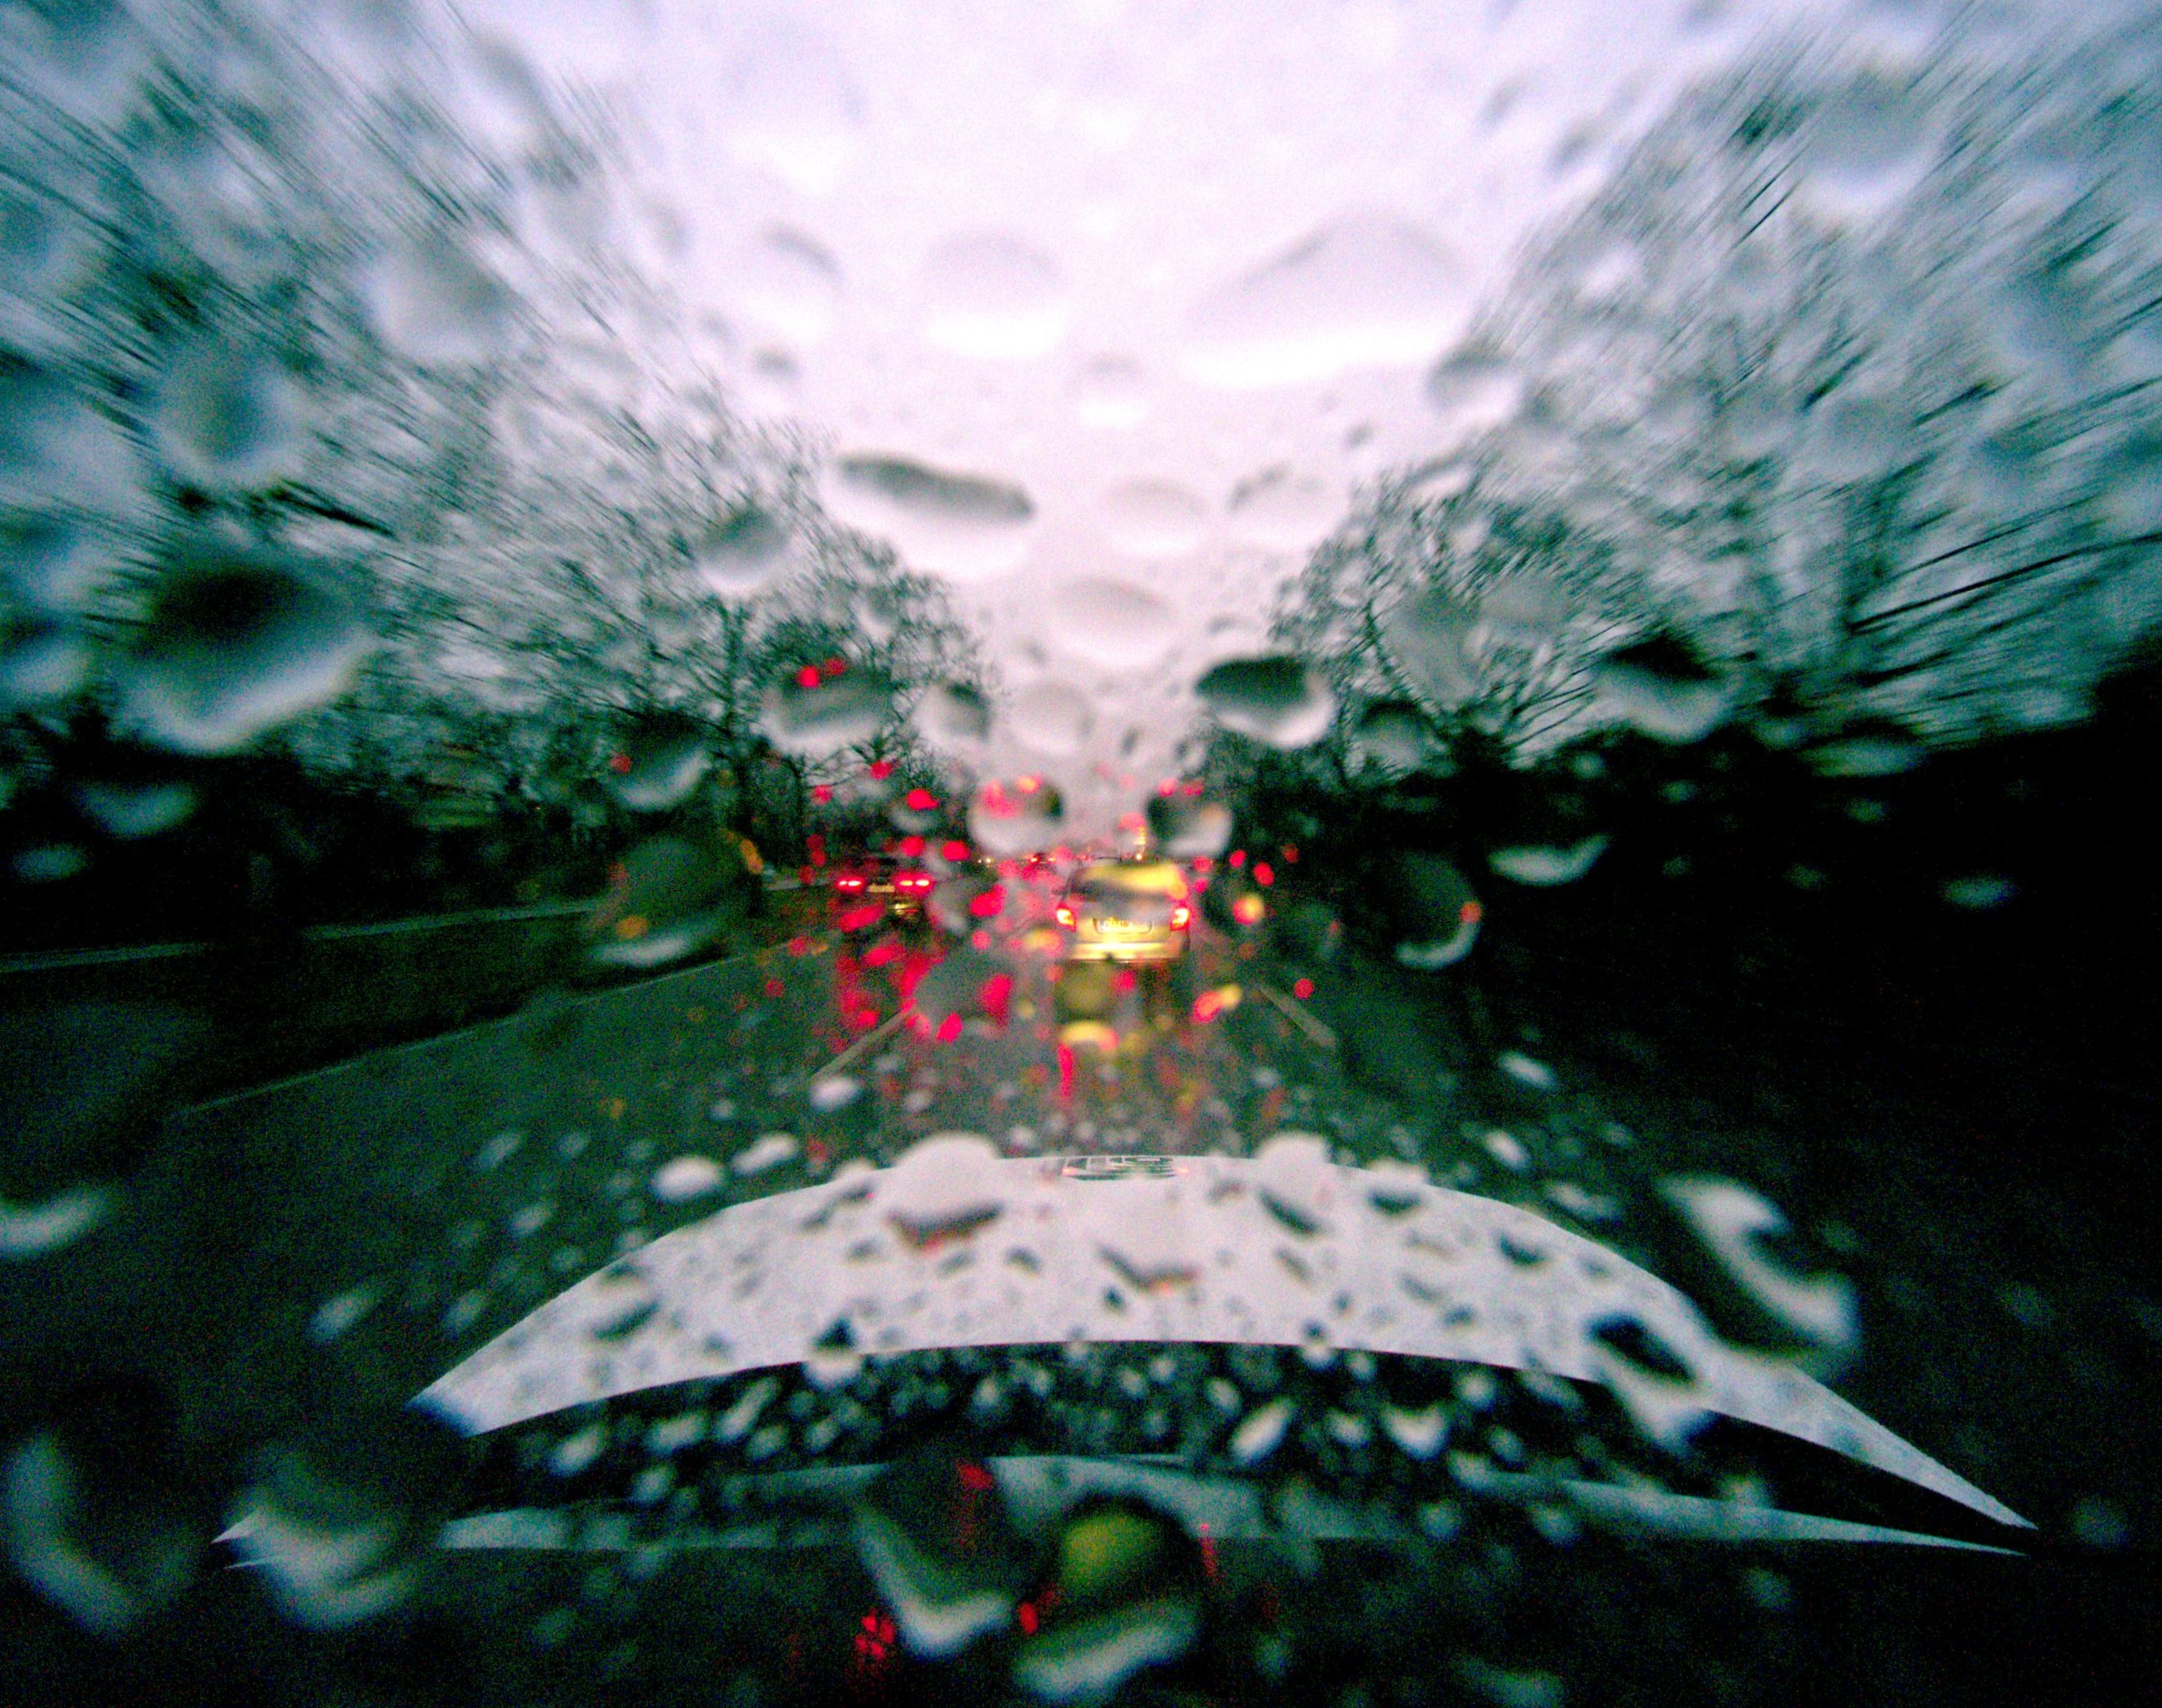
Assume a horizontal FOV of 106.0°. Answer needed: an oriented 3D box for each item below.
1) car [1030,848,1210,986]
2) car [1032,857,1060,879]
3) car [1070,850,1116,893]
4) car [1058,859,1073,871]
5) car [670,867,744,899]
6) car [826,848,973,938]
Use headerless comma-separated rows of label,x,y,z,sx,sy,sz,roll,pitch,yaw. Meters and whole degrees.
car,0.520,0.737,11.225,1.986,1.500,4.139,-2,-1,2
car,-2.558,0.994,60.500,1.782,1.545,4.002,-1,0,2
car,0.601,0.747,36.776,1.890,1.767,4.311,-1,0,2
car,-2.061,1.457,109.431,1.782,1.483,4.002,-2,-1,2
car,-18.691,1.419,40.923,1.742,1.425,3.980,-2,-1,2
car,-3.503,0.700,16.606,1.987,1.601,4.308,0,0,0
